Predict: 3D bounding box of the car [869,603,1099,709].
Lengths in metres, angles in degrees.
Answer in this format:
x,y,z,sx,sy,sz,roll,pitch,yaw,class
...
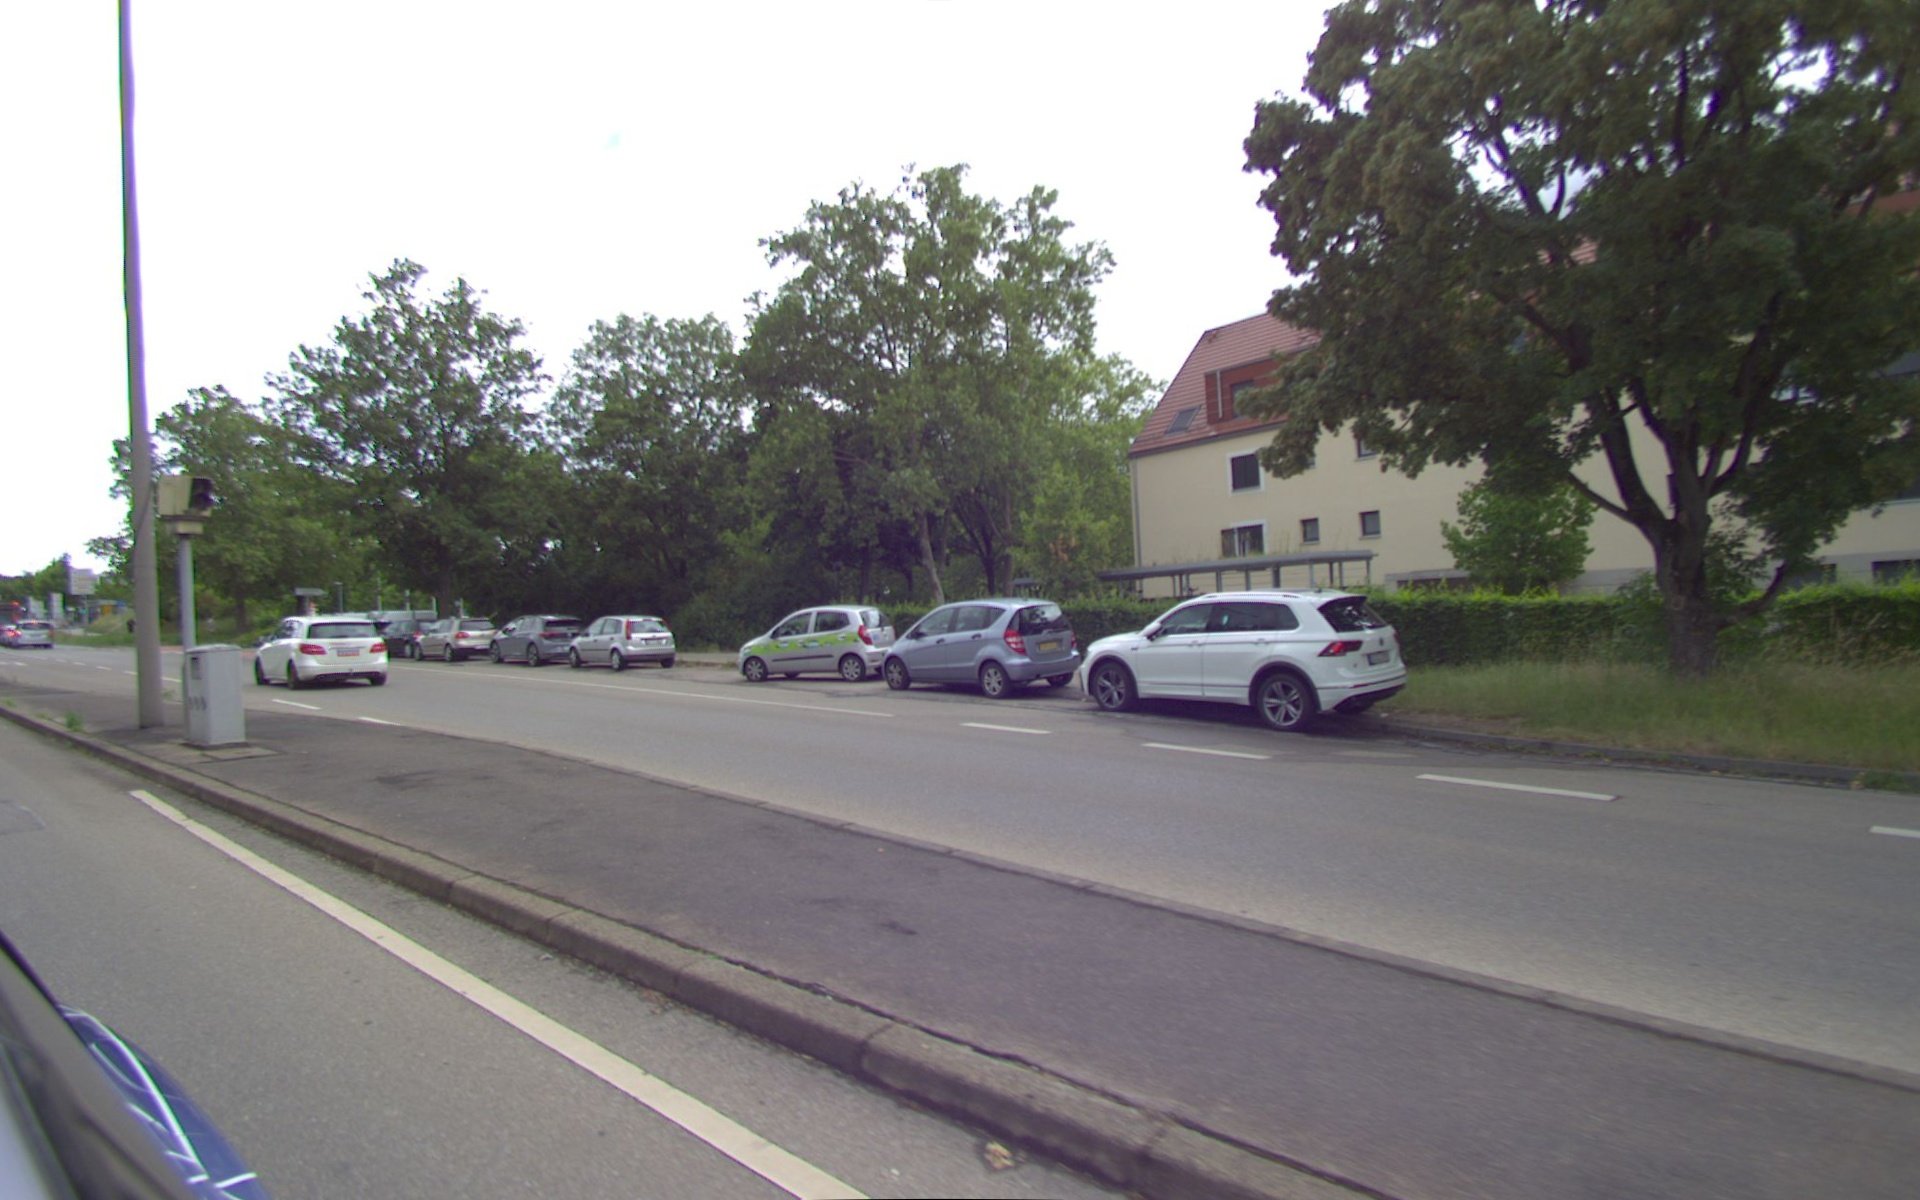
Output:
x,y,z,sx,sy,sz,roll,pitch,yaw,class
0.326,0.878,17.881,1.852,1.608,4.006,-1,1,-41,car

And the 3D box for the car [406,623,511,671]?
x,y,z,sx,sy,sz,roll,pitch,yaw,class
-17.512,1.593,35.266,4.054,1.518,1.856,-2,0,41,car

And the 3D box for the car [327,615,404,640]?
x,y,z,sx,sy,sz,roll,pitch,yaw,class
-49.868,2.300,84.985,1.739,2.029,5.228,-1,-2,41,car

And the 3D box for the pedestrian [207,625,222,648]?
x,y,z,sx,sy,sz,roll,pitch,yaw,class
-59.574,2.906,80.835,0.637,1.750,0.749,-1,0,33,pedestrian

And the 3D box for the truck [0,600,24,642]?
x,y,z,sx,sy,sz,roll,pitch,yaw,class
-81.932,1.807,86.306,2.792,3.507,7.828,0,-1,-45,truck

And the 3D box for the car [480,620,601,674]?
x,y,z,sx,sy,sz,roll,pitch,yaw,class
-13.151,1.438,31.632,3.997,1.518,1.856,-2,-1,41,car

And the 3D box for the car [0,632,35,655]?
x,y,z,sx,sy,sz,roll,pitch,yaw,class
-63.931,2.944,68.419,4.122,1.498,1.710,-2,-2,42,car

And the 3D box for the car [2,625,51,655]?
x,y,z,sx,sy,sz,roll,pitch,yaw,class
-59.477,2.535,64.457,4.404,1.783,1.809,-2,0,41,car

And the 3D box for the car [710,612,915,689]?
x,y,z,sx,sy,sz,roll,pitch,yaw,class
-3.166,1.060,21.787,3.974,1.518,1.867,-1,-1,23,car

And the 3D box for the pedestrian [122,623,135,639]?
x,y,z,sx,sy,sz,roll,pitch,yaw,class
-73.987,2.752,90.073,0.639,1.458,0.747,-1,0,41,pedestrian

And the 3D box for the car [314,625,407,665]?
x,y,z,sx,sy,sz,roll,pitch,yaw,class
-24.893,1.853,42.000,3.879,1.518,1.859,-2,0,35,car

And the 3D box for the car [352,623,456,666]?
x,y,z,sx,sy,sz,roll,pitch,yaw,class
-21.488,1.702,39.090,3.987,1.518,1.861,-1,0,33,car

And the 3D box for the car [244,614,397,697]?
x,y,z,sx,sy,sz,roll,pitch,yaw,class
-14.304,1.155,22.529,4.339,1.582,1.855,0,1,43,car

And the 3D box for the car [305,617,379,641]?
x,y,z,sx,sy,sz,roll,pitch,yaw,class
-54.068,2.501,88.650,1.738,2.029,5.230,-1,-2,40,car

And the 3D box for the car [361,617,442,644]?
x,y,z,sx,sy,sz,roll,pitch,yaw,class
-43.846,2.375,79.537,2.010,2.029,5.230,-1,-2,40,car

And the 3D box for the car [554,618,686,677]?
x,y,z,sx,sy,sz,roll,pitch,yaw,class
-9.568,1.297,28.344,4.000,1.518,1.855,-2,-1,43,car

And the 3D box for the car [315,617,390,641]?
x,y,z,sx,sy,sz,roll,pitch,yaw,class
-52.270,2.500,87.133,1.738,2.029,5.230,-1,-2,40,car

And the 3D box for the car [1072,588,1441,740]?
x,y,z,sx,sy,sz,roll,pitch,yaw,class
3.780,0.759,13.552,1.852,1.679,4.397,-1,-1,-41,car
